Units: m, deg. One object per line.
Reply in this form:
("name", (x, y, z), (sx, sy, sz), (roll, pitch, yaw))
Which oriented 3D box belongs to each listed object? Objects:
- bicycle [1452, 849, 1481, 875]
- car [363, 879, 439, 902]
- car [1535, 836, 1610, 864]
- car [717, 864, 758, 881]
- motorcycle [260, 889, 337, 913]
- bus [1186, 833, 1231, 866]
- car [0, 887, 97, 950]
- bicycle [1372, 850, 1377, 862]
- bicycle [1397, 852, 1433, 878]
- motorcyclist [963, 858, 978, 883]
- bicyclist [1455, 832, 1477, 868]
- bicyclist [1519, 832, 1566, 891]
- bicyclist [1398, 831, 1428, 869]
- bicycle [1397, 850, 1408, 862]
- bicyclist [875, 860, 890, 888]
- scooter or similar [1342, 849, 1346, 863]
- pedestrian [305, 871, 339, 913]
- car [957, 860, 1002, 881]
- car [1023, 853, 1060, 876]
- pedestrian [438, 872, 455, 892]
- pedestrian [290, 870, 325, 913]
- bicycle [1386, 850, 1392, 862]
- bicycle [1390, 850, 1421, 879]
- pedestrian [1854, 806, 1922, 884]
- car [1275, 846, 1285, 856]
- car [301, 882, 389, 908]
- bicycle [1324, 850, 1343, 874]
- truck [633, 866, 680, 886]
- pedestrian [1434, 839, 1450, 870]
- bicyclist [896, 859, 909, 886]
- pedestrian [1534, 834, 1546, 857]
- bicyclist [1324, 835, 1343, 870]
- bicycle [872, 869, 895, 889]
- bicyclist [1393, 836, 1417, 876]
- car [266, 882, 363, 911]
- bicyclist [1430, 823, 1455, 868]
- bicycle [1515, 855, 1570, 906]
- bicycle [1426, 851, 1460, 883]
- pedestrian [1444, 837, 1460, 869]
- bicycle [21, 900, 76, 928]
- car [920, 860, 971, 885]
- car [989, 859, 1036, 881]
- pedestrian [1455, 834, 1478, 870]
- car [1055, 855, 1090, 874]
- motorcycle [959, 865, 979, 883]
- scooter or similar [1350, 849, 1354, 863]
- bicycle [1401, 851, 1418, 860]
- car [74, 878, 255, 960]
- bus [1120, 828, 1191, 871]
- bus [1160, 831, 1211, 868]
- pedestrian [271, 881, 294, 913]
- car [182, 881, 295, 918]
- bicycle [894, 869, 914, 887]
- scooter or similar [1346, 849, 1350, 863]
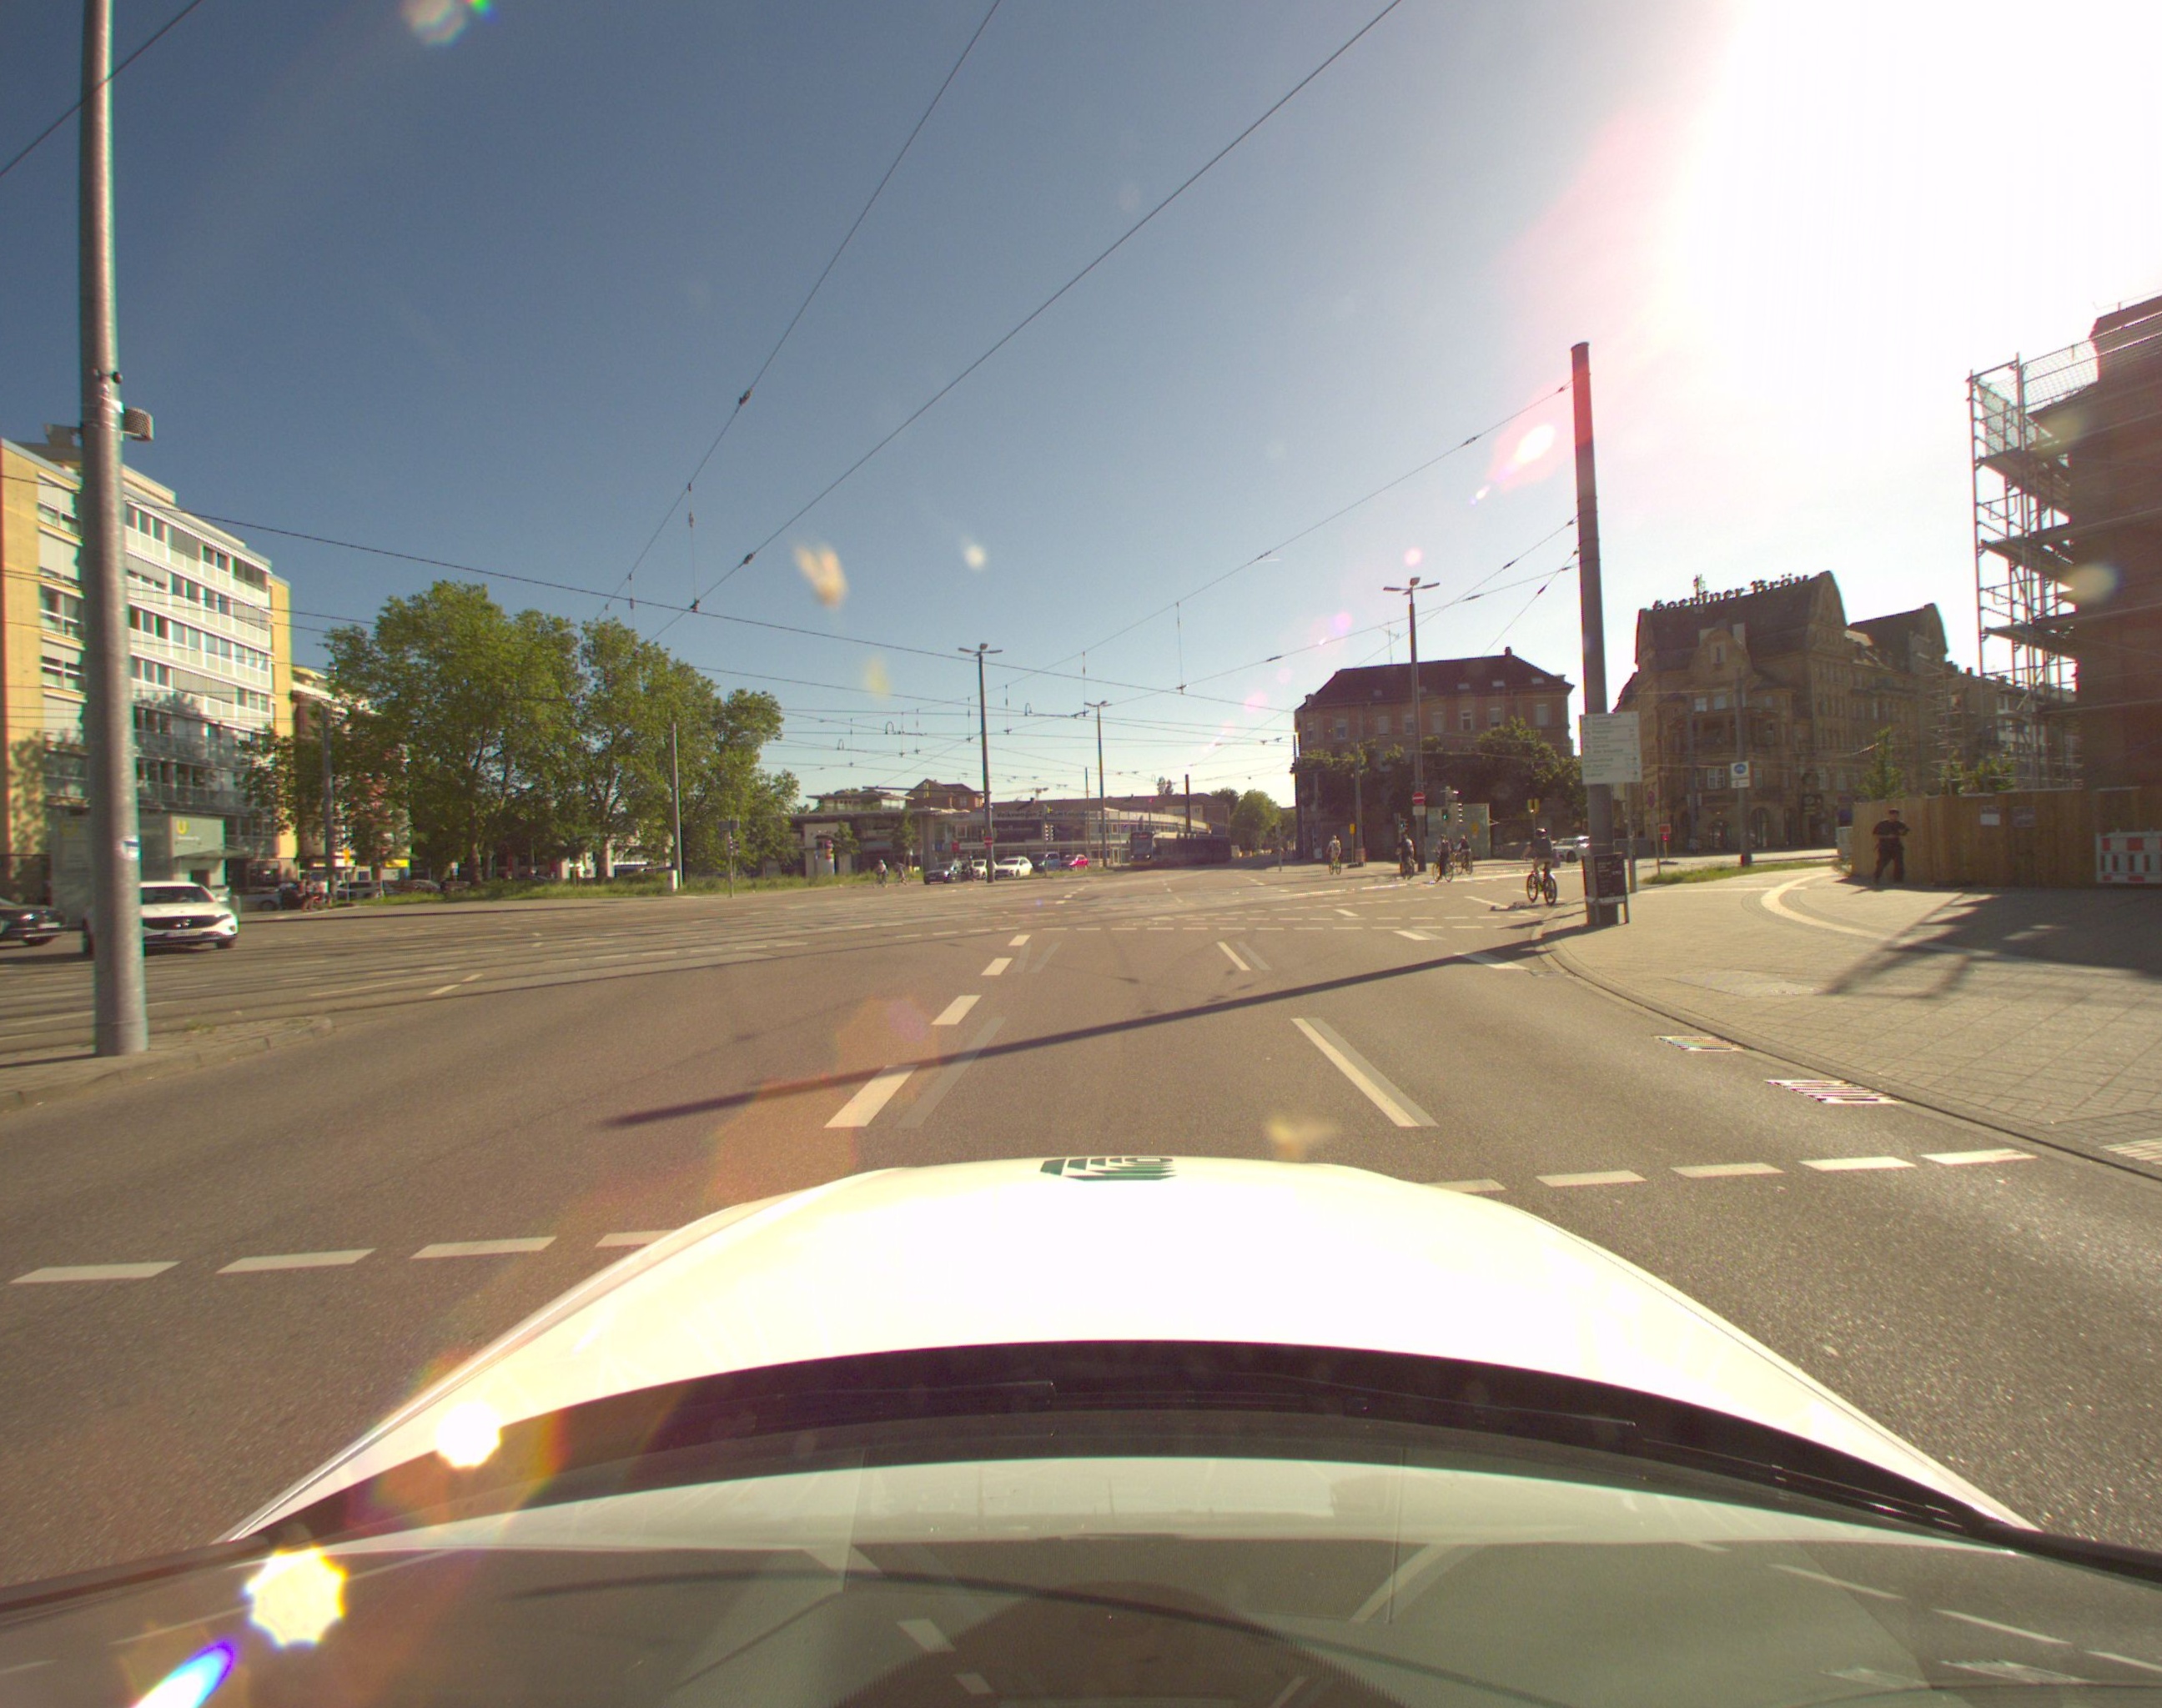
("bicycle", (17.417, 0.339, 36.828), (0.529, 1.117, 1.937), (-1, 1, 6))
("car", (-52.677, 2.823, 63.182), (4.003, 1.499, 1.985), (-2, 0, -22))
("car", (31.548, -0.244, 52.271), (4.255, 1.621, 1.904), (-1, -2, -23))
("car", (-40.578, 2.172, 96.325), (3.979, 2.014, 1.997), (0, -1, -4))
("motorcycle", (-39.838, 2.386, 41.468), (2.942, 1.177, 1.294), (0, -1, 9))
("bus", (15.375, -0.515, 97.308), (2.816, 3.589, 11.331), (-2, 0, 22))
("car", (-29.771, 1.755, 21.369), (4.630, 1.577, 2.031), (-1, -1, -20))
("bicycle", (25.717, 0.162, 71.292), (0.400, 1.061, 1.490), (-1, -1, 21))
("bicycle", (14.419, 0.458, 35.220), (0.386, 1.069, 1.926), (-2, 1, -12))
("motorcyclist", (-7.222, 1.052, 53.173), (0.580, 1.580, 0.947), (-3, -1, 17))
("bicyclist", (17.393, -0.168, 36.817), (0.595, 1.613, 0.955), (0, -1, 7))
("bicyclist", (11.281, 0.183, 19.932), (0.670, 1.421, 1.039), (-1, -1, 8))
("bicyclist", (14.395, -0.160, 35.328), (0.783, 1.593, 0.882), (-2, -1, -13))
("bicycle", (27.922, 0.154, 70.715), (0.402, 1.061, 1.352), (0, -1, 1))
("bicyclist", (-12.571, 1.287, 51.575), (0.569, 1.742, 0.681), (-1, 1, 17))
("scooter or similar", (23.200, 0.200, 71.806), (0.268, 1.185, 1.571), (-1, -1, 17))
("pedestrian", (-37.052, 1.839, 39.750), (0.854, 2.030, 0.866), (0, -1, -11))
("car", (-7.410, 1.184, 59.856), (1.789, 1.432, 4.017), (-1, -1, 17))
("car", (-3.459, 0.920, 71.944), (1.788, 1.933, 4.184), (-3, -1, 18))
("pedestrian", (-63.388, 2.800, 81.346), (1.110, 2.014, 1.168), (0, -1, -26))
("pedestrian", (-36.921, 1.779, 38.872), (0.854, 2.030, 0.866), (0, -1, -11))
("bicycle", (26.877, 0.158, 71.049), (0.400, 1.061, 1.358), (-1, -1, 17))
("bicycle", (13.137, 0.429, 33.027), (0.529, 1.117, 1.934), (-2, -1, 2))
("pedestrian", (18.832, -0.198, 19.030), (0.770, 1.787, 0.833), (-1, -1, 8))
("car", (44.563, -0.674, 181.922), (1.978, 2.014, 4.017), (-1, -1, 16))
("car", (-50.614, 2.793, 56.118), (4.003, 1.499, 1.985), (-2, 0, -22))
("bicycle", (12.384, 0.393, 39.959), (0.529, 1.117, 1.936), (-1, -1, 6))
("truck", (-47.911, 2.492, 91.965), (4.186, 2.221, 2.001), (0, -1, 2))
("pedestrian", (19.848, 0.036, 44.786), (0.655, 1.677, 0.826), (-1, -1, 12))
("bicyclist", (-11.666, 1.227, 53.160), (0.569, 1.742, 0.604), (-1, 1, 16))
("pedestrian", (36.804, -0.660, 65.326), (0.651, 1.849, 0.542), (0, -1, -27))
("bicyclist", (12.384, -0.083, 39.968), (0.677, 1.683, 1.122), (0, -1, 6))
("bicycle", (-12.548, 1.561, 51.754), (0.533, 1.184, 1.761), (-3, 0, 16))
("bicyclist", (13.158, 0.076, 33.110), (0.621, 1.613, 0.982), (0, -1, 3))
("car", (-48.788, 2.699, 51.920), (4.003, 1.565, 1.985), (-2, 0, -22))
("bicyclist", (13.264, -0.302, 29.885), (0.547, 1.613, 0.954), (0, -1, 5))
("bicycle", (11.297, 0.613, 20.012), (0.528, 1.158, 1.870), (-1, 1, 8))
("bicycle", (13.264, 0.453, 29.858), (0.529, 1.117, 1.936), (-1, 0, 5))
("pedestrian", (20.708, -0.044, 45.439), (0.655, 1.757, 0.826), (-1, -1, 12))
("bicycle", (-50.091, 2.884, 39.533), (0.618, 1.216, 1.938), (0, -1, -15))
("car", (-8.890, 1.205, 53.680), (1.637, 1.479, 3.988), (-4, -1, 16))
("car", (-4.824, 1.113, 57.944), (1.789, 1.432, 4.560), (-1, -1, 17))
("pedestrian", (20.746, -0.112, 43.839), (0.924, 1.929, 1.052), (-1, -1, 12))
("car", (-0.765, 1.008, 79.020), (1.783, 1.719, 4.439), (-3, -1, 21))
("motorcycle", (-7.290, 1.284, 53.006), (0.514, 1.047, 1.755), (-3, 0, 18))
("scooter or similar", (23.820, 0.177, 71.635), (0.268, 1.196, 1.571), (-1, -1, 17))
("bicycle", (30.897, 0.174, 76.562), (1.405, 0.856, 0.406), (-1, -1, 23))
("car", (-21.439, 1.455, 19.020), (4.506, 1.641, 2.016), (-2, -1, 31))
("bus", (7.307, -0.441, 76.799), (2.816, 3.589, 13.567), (-2, 0, 22))
("bus", (11.316, -0.474, 87.017), (2.816, 3.589, 10.782), (-2, 0, 21))
("pedestrian", (-41.600, 2.241, 42.456), (0.763, 1.621, 0.646), (0, -1, -36))
("car", (-48.370, 2.581, 46.878), (4.003, 1.806, 1.985), (-2, 0, -22))
("bicycle", (-11.587, 1.546, 53.388), (0.533, 1.074, 1.662), (-3, 0, 16))
("scooter or similar", (23.506, 0.197, 71.731), (0.268, 1.185, 1.571), (-1, -1, 17))
